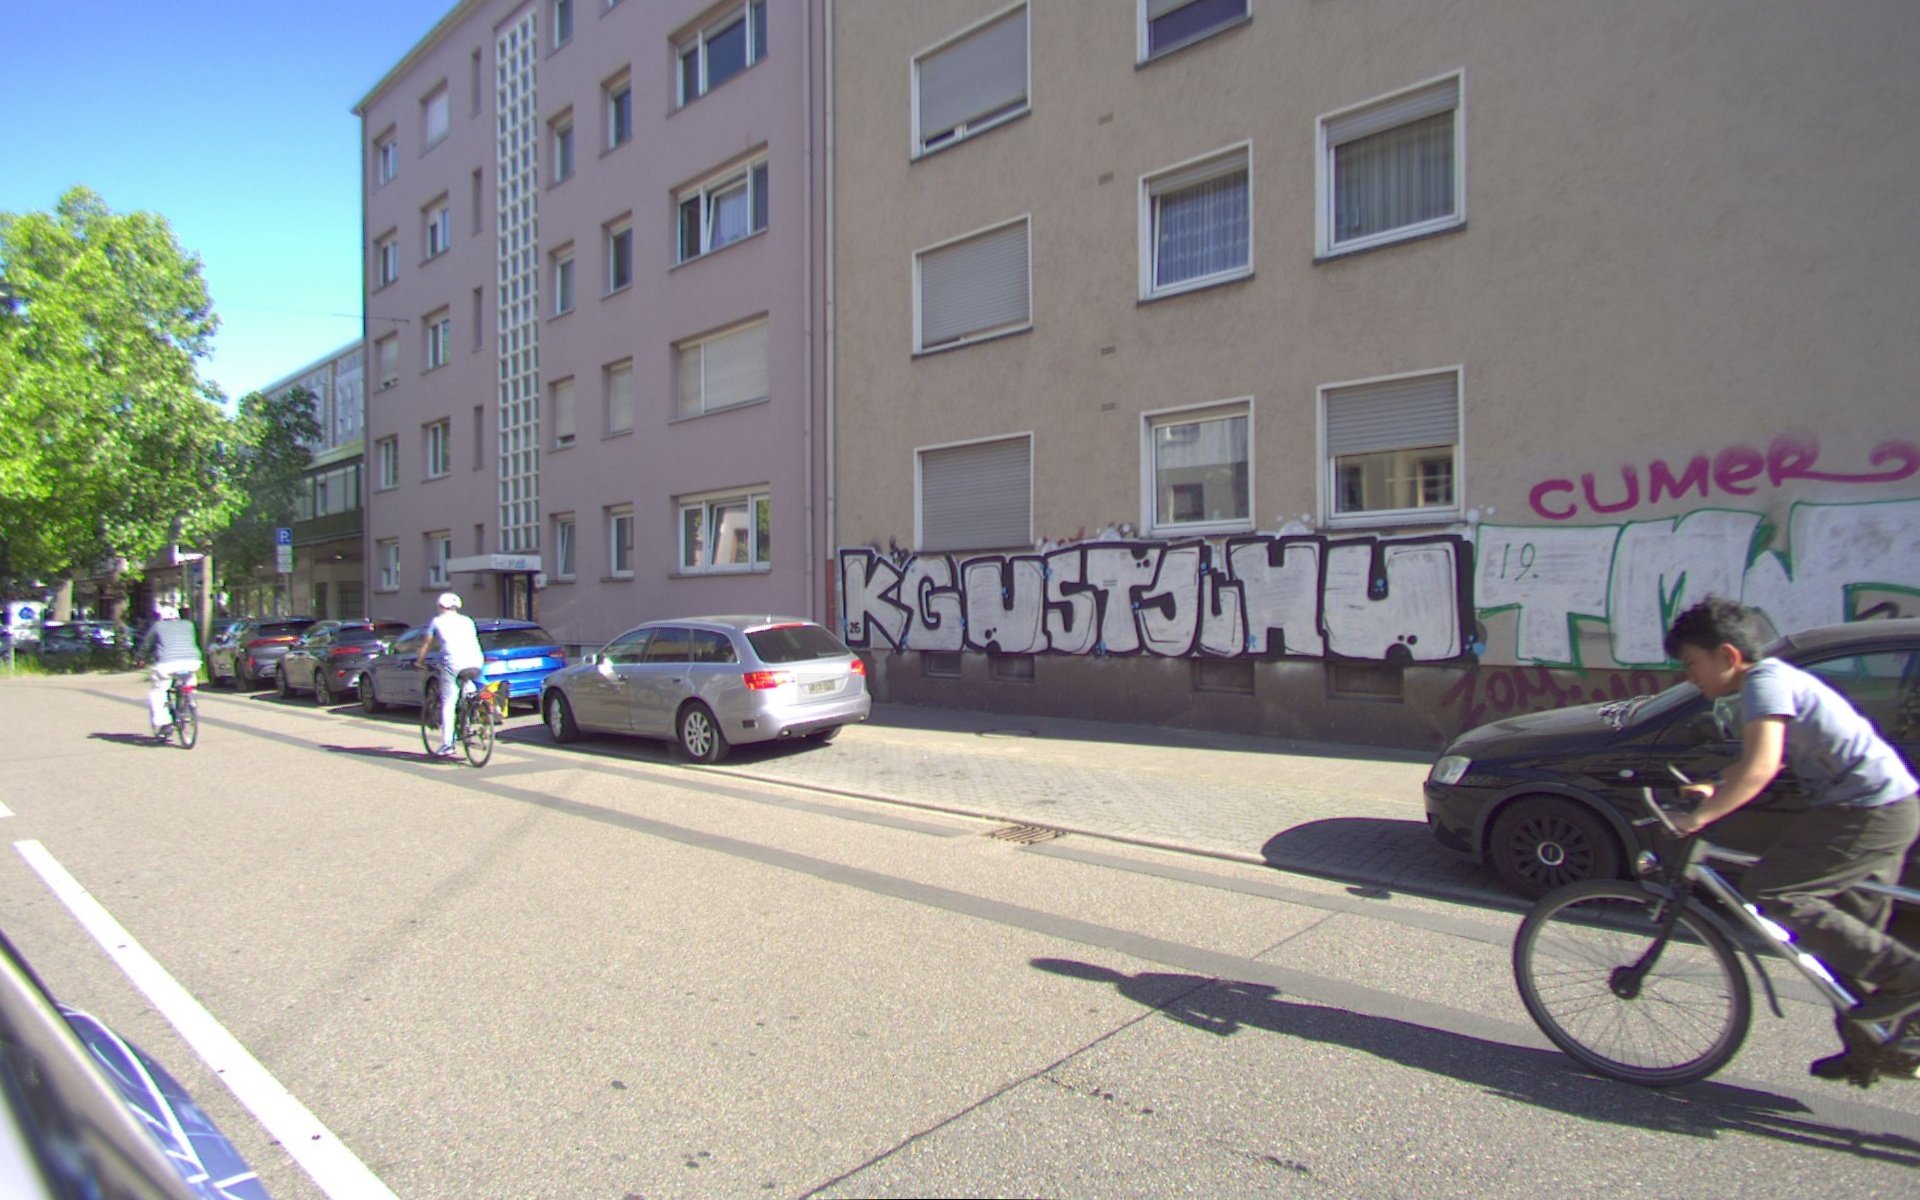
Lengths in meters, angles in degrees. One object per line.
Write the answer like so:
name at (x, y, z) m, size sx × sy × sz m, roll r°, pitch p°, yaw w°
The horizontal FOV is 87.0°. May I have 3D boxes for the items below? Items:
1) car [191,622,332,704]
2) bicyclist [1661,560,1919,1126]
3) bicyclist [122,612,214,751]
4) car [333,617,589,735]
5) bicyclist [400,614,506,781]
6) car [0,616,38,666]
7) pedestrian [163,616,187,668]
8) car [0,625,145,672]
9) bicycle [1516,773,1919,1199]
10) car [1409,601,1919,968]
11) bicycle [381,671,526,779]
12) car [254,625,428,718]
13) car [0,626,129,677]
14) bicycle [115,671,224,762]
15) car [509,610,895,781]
car at (-15.813, 1.355, 22.840) m, size 4.157 × 1.588 × 1.704 m, roll -2°, pitch 1°, yaw 43°
bicyclist at (2.467, 0.606, 2.796) m, size 0.788 × 1.402 × 0.537 m, roll -2°, pitch -2°, yaw 42°
bicyclist at (-9.515, 0.958, 12.160) m, size 0.898 × 1.588 × 0.672 m, roll -2°, pitch -3°, yaw 41°
car at (-7.971, 1.097, 15.938) m, size 4.797 × 1.514 × 1.805 m, roll -2°, pitch 1°, yaw 40°
bicyclist at (-5.275, 0.981, 10.535) m, size 0.898 × 1.643 × 0.672 m, roll -2°, pitch -3°, yaw 41°
car at (-41.553, 1.752, 42.683) m, size 1.913 × 2.058 × 3.824 m, roll -2°, pitch -1°, yaw 43°
pedestrian at (-28.227, 1.506, 36.405) m, size 0.502 × 1.820 × 0.615 m, roll -2°, pitch -2°, yaw 42°
car at (-32.173, 1.710, 36.654) m, size 1.913 × 1.564 × 3.943 m, roll -2°, pitch -1°, yaw 43°
bicycle at (2.570, 1.032, 2.694) m, size 1.825 × 0.909 × 0.537 m, roll -2°, pitch -2°, yaw 41°
car at (4.446, 0.767, 4.854) m, size 3.853 × 1.459 × 1.674 m, roll -2°, pitch 1°, yaw 40°
bicycle at (-5.314, 1.258, 10.558) m, size 1.933 × 0.959 × 0.672 m, roll -2°, pitch -3°, yaw 41°
car at (-11.790, 1.272, 19.162) m, size 4.157 × 1.478 × 1.704 m, roll -2°, pitch 1°, yaw 43°
car at (-30.452, 1.697, 33.832) m, size 1.913 × 1.564 × 3.943 m, roll -2°, pitch -1°, yaw 43°
bicycle at (-9.588, 1.370, 12.250) m, size 1.933 × 0.959 × 0.672 m, roll -2°, pitch -3°, yaw 41°
car at (-3.122, 0.948, 11.624) m, size 4.797 × 1.514 × 1.805 m, roll -2°, pitch 1°, yaw 40°
